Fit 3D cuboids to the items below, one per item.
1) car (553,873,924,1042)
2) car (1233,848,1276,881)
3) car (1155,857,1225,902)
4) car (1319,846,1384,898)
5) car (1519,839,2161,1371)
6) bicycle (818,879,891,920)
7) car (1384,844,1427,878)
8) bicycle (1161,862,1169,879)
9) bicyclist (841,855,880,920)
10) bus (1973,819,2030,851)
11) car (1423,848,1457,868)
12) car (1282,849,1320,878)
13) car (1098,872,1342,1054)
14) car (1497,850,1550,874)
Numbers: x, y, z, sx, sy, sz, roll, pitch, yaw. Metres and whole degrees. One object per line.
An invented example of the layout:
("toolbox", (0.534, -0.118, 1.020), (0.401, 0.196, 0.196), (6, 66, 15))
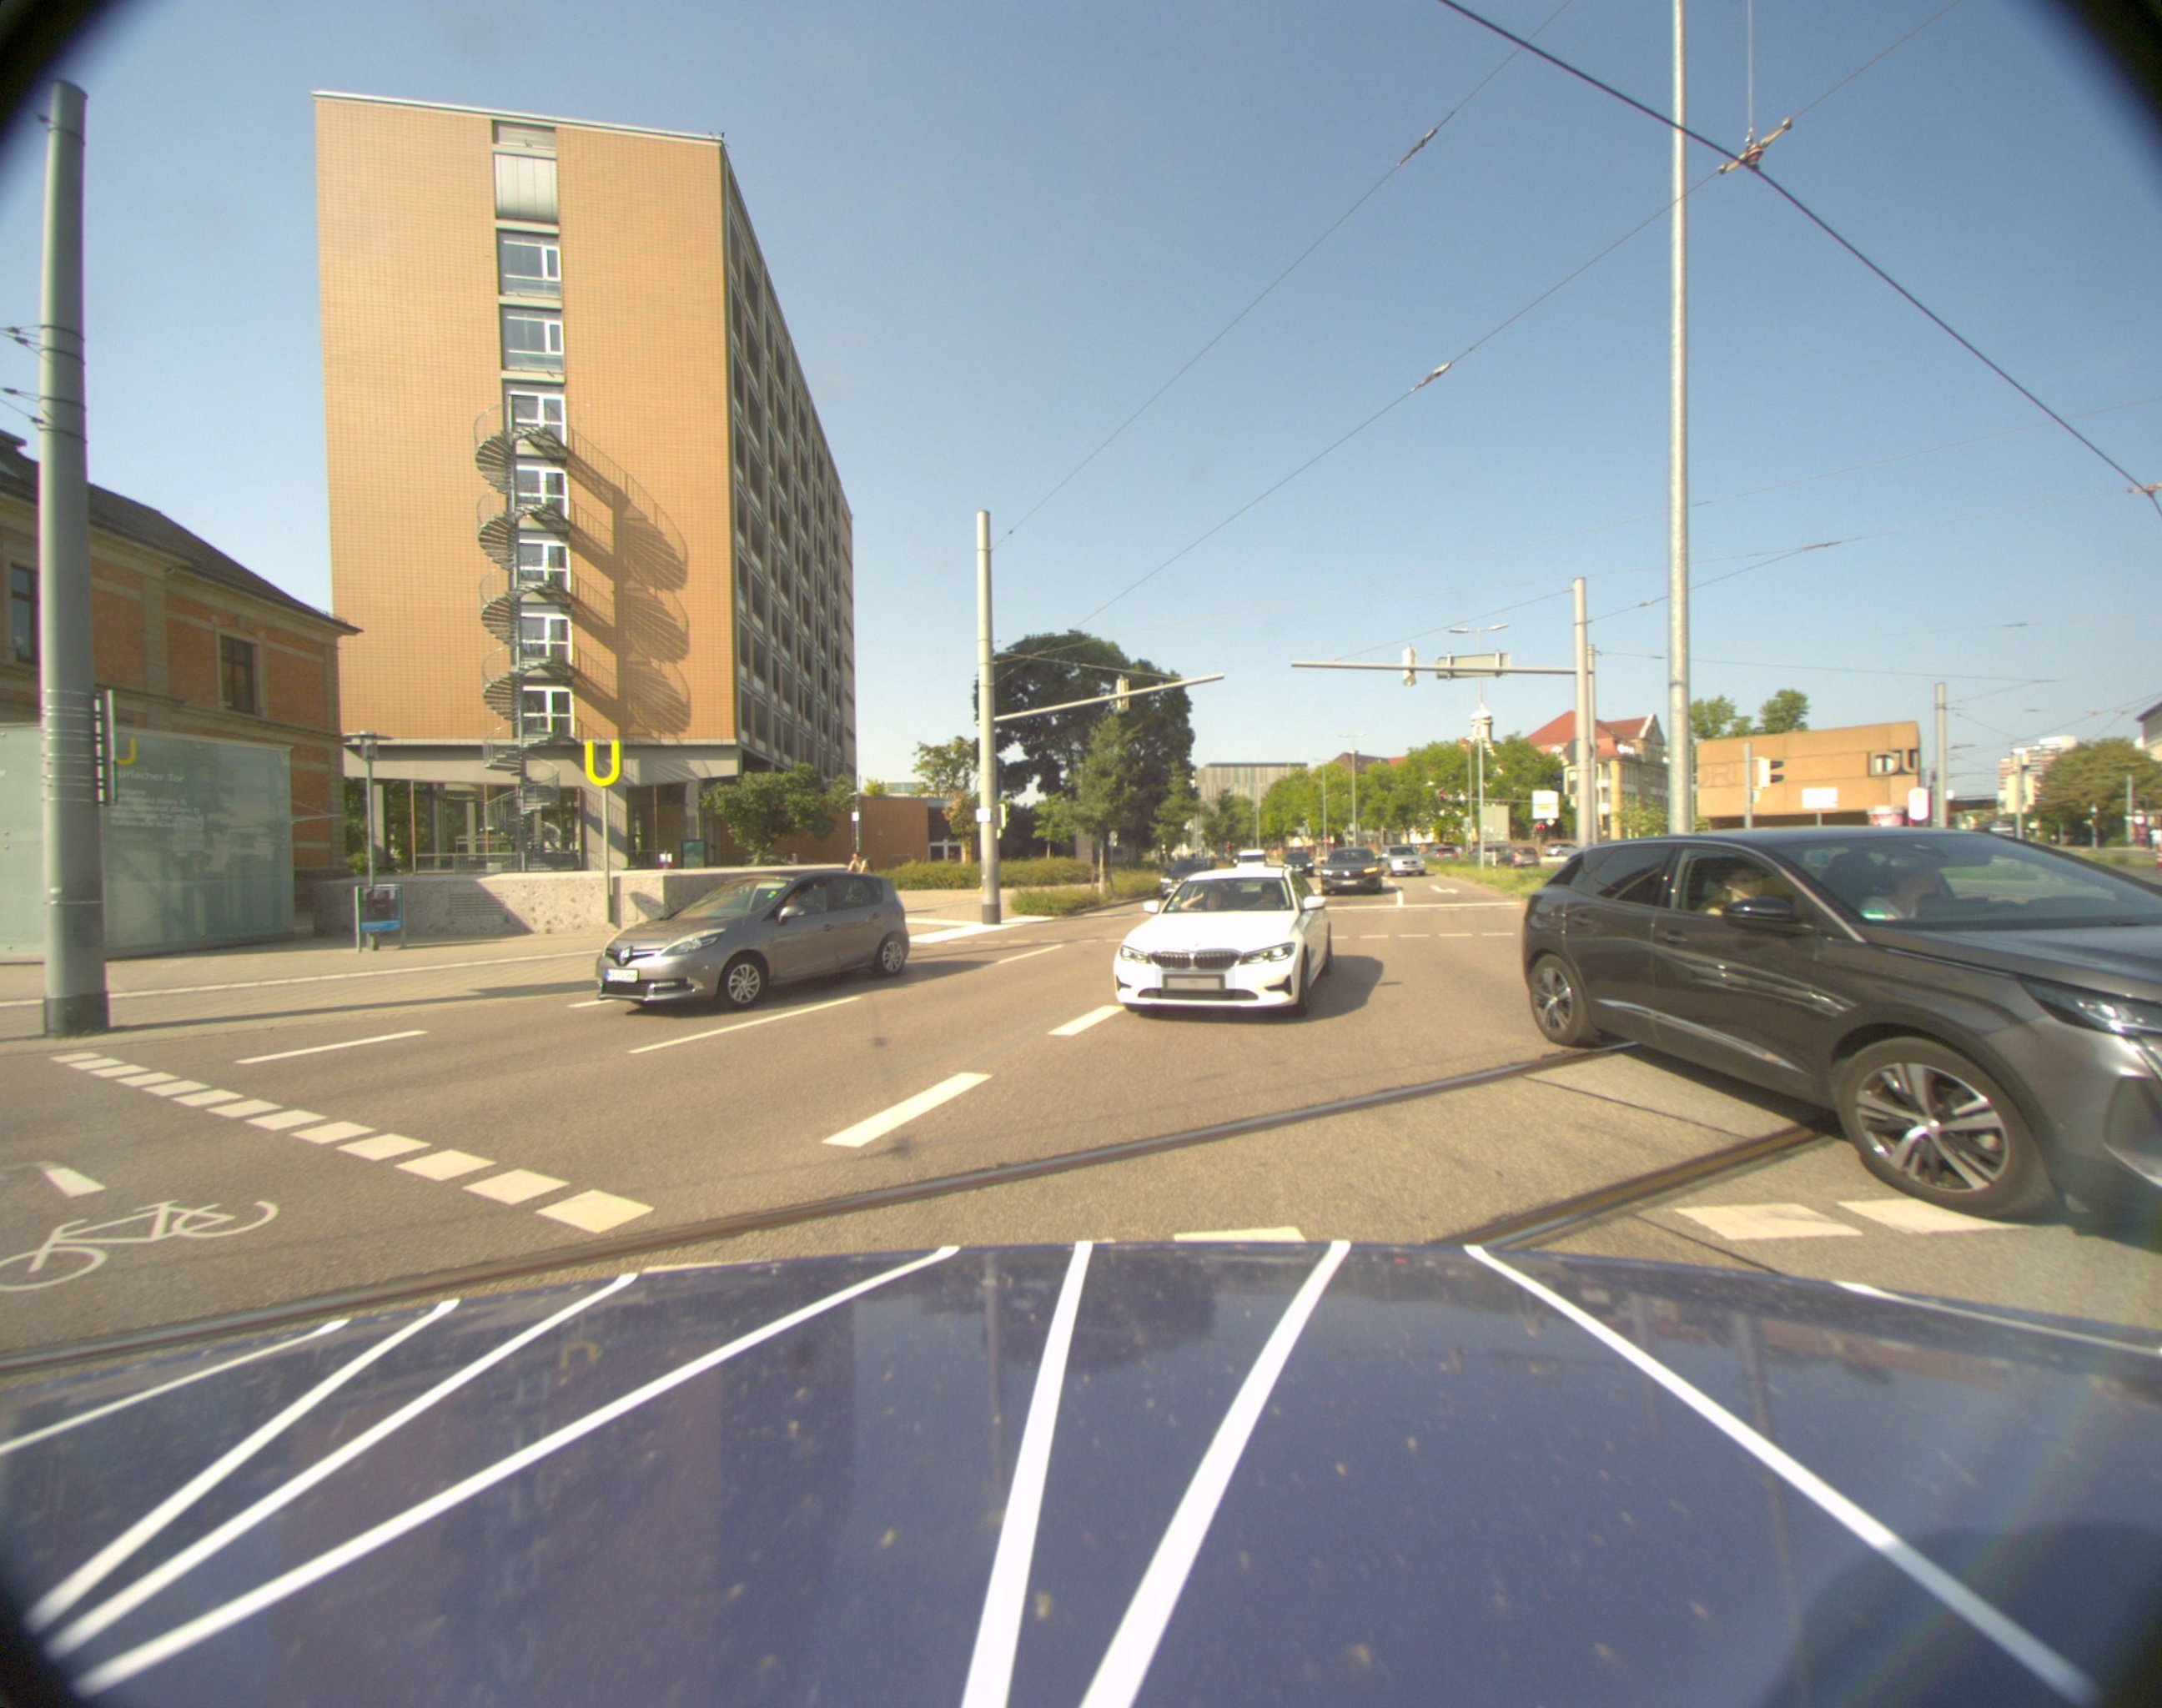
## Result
("car", (-4.172, 1.138, 10.097), (1.810, 1.614, 4.297), (-2, -1, 25))
("car", (10.954, 0.629, 47.787), (1.791, 1.875, 4.297), (-3, -1, 23))
("car", (4.317, 0.950, 29.580), (1.740, 1.572, 3.982), (-2, -1, 22))
("car", (9.954, 0.631, 27.805), (1.922, 1.697, 4.297), (-3, -1, 23))
("car", (4.447, 0.749, 4.094), (1.998, 1.611, 4.359), (-1, 0, 6))
("bicycle", (-6.563, 1.295, 22.170), (0.528, 1.089, 2.192), (-1, 0, 33))
("car", (17.910, 0.354, 42.090), (1.948, 1.697, 4.296), (-3, -1, 21))
("bicycle", (6.176, 1.223, 55.972), (0.401, 1.187, 1.772), (-1, 0, -1))
("bicyclist", (-6.464, 0.972, 22.266), (0.780, 1.851, 0.712), (-1, 0, 33))
("bus", (105.519, -2.052, 87.264), (13.344, 3.399, 3.216), (-1, 0, -44))
("car", (27.154, 0.314, 57.559), (1.491, 1.442, 3.527), (-1, 0, 10))
("car", (13.911, 0.590, 47.911), (1.764, 1.697, 4.297), (-3, -1, 23))
("car", (1.935, 0.983, 8.934), (1.810, 1.419, 4.782), (-1, 0, 23))
("car", (29.281, 0.538, 50.377), (1.780, 1.499, 4.003), (-1, 0, 10))
